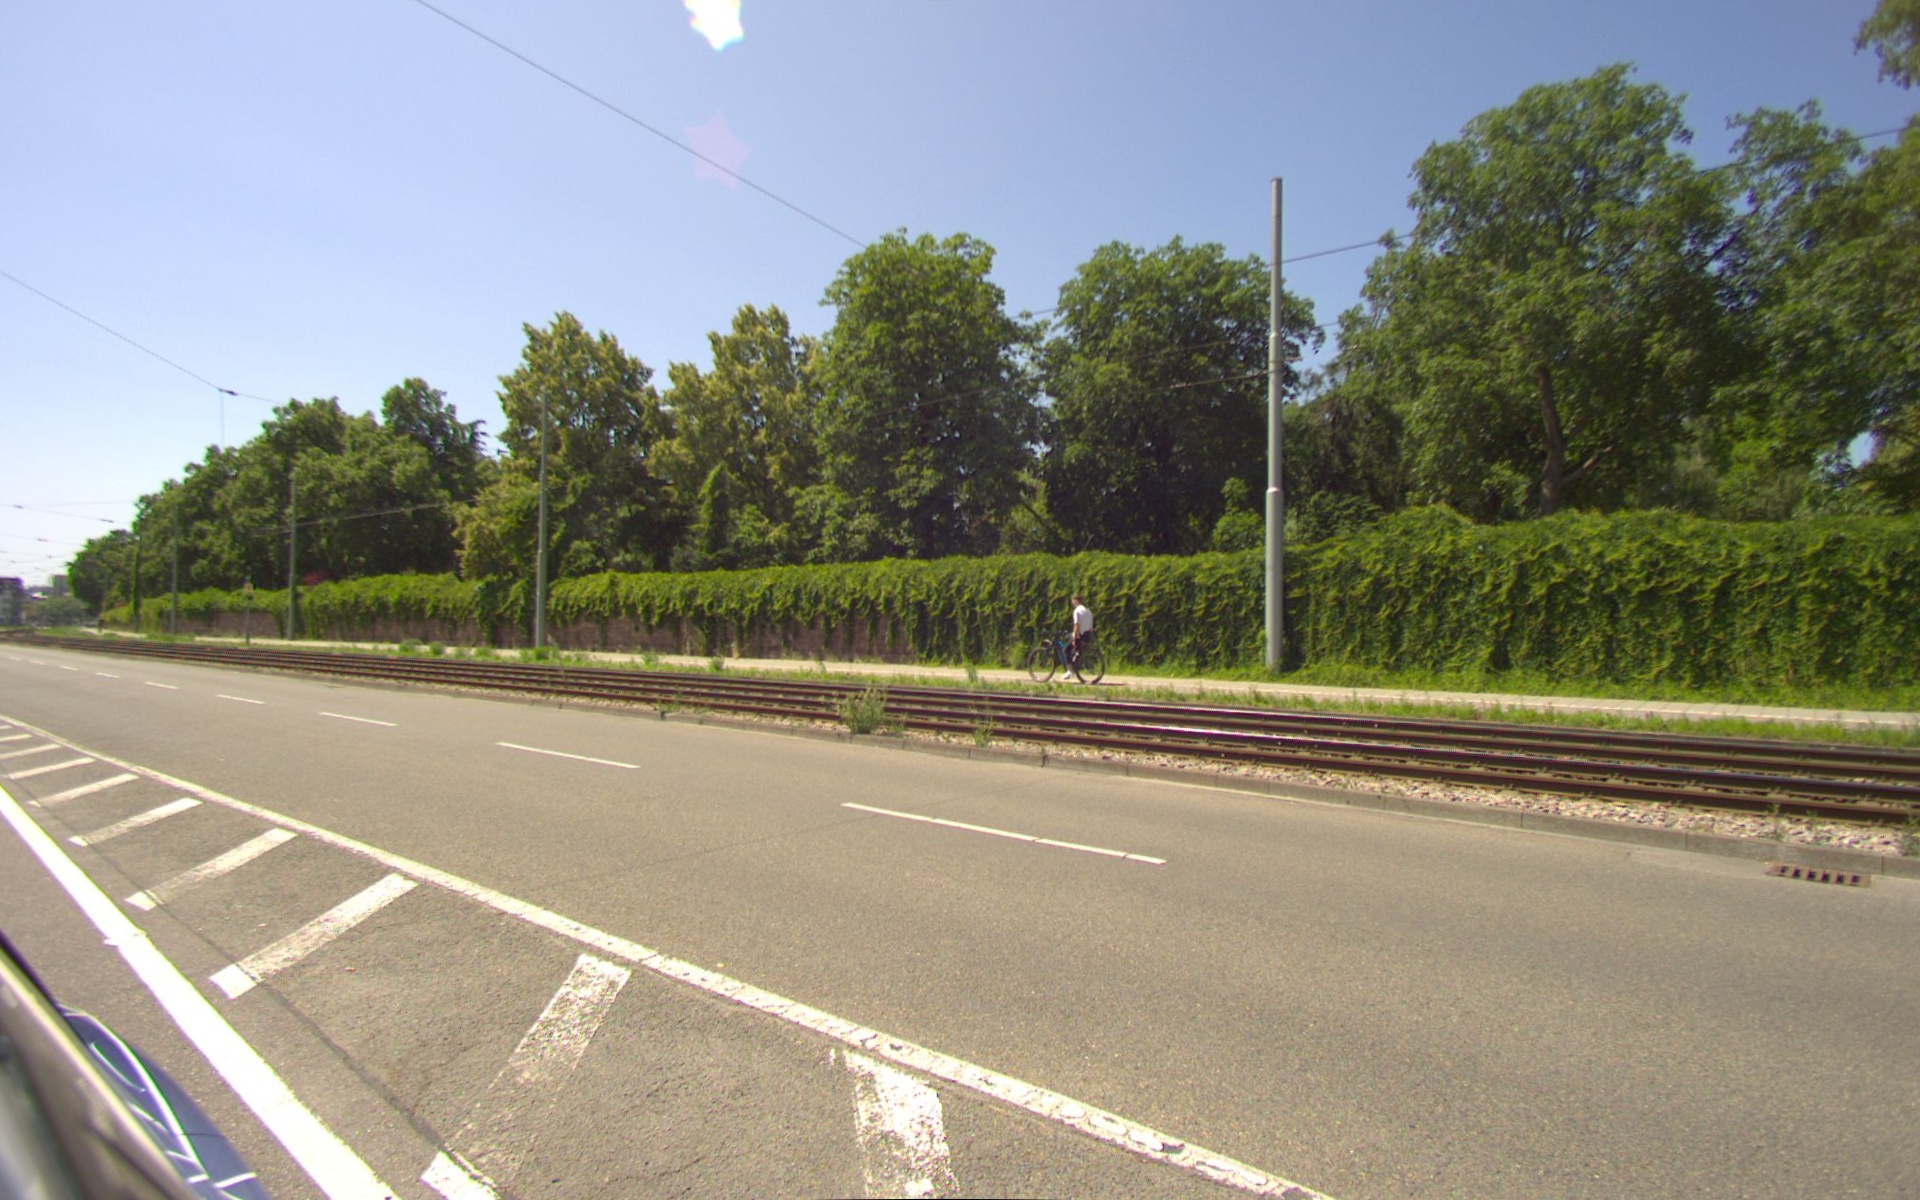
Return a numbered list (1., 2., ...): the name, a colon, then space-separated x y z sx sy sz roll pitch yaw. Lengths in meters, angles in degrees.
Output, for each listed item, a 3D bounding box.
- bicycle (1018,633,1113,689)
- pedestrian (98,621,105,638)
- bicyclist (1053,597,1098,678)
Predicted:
1. bicycle: 2.177 1.244 21.059 1.977 1.063 0.609 -1 0 42
2. pedestrian: -89.012 3.068 104.946 0.302 1.677 0.447 -2 -1 41
3. bicyclist: 2.384 0.766 20.851 0.768 1.624 0.477 -1 0 41
